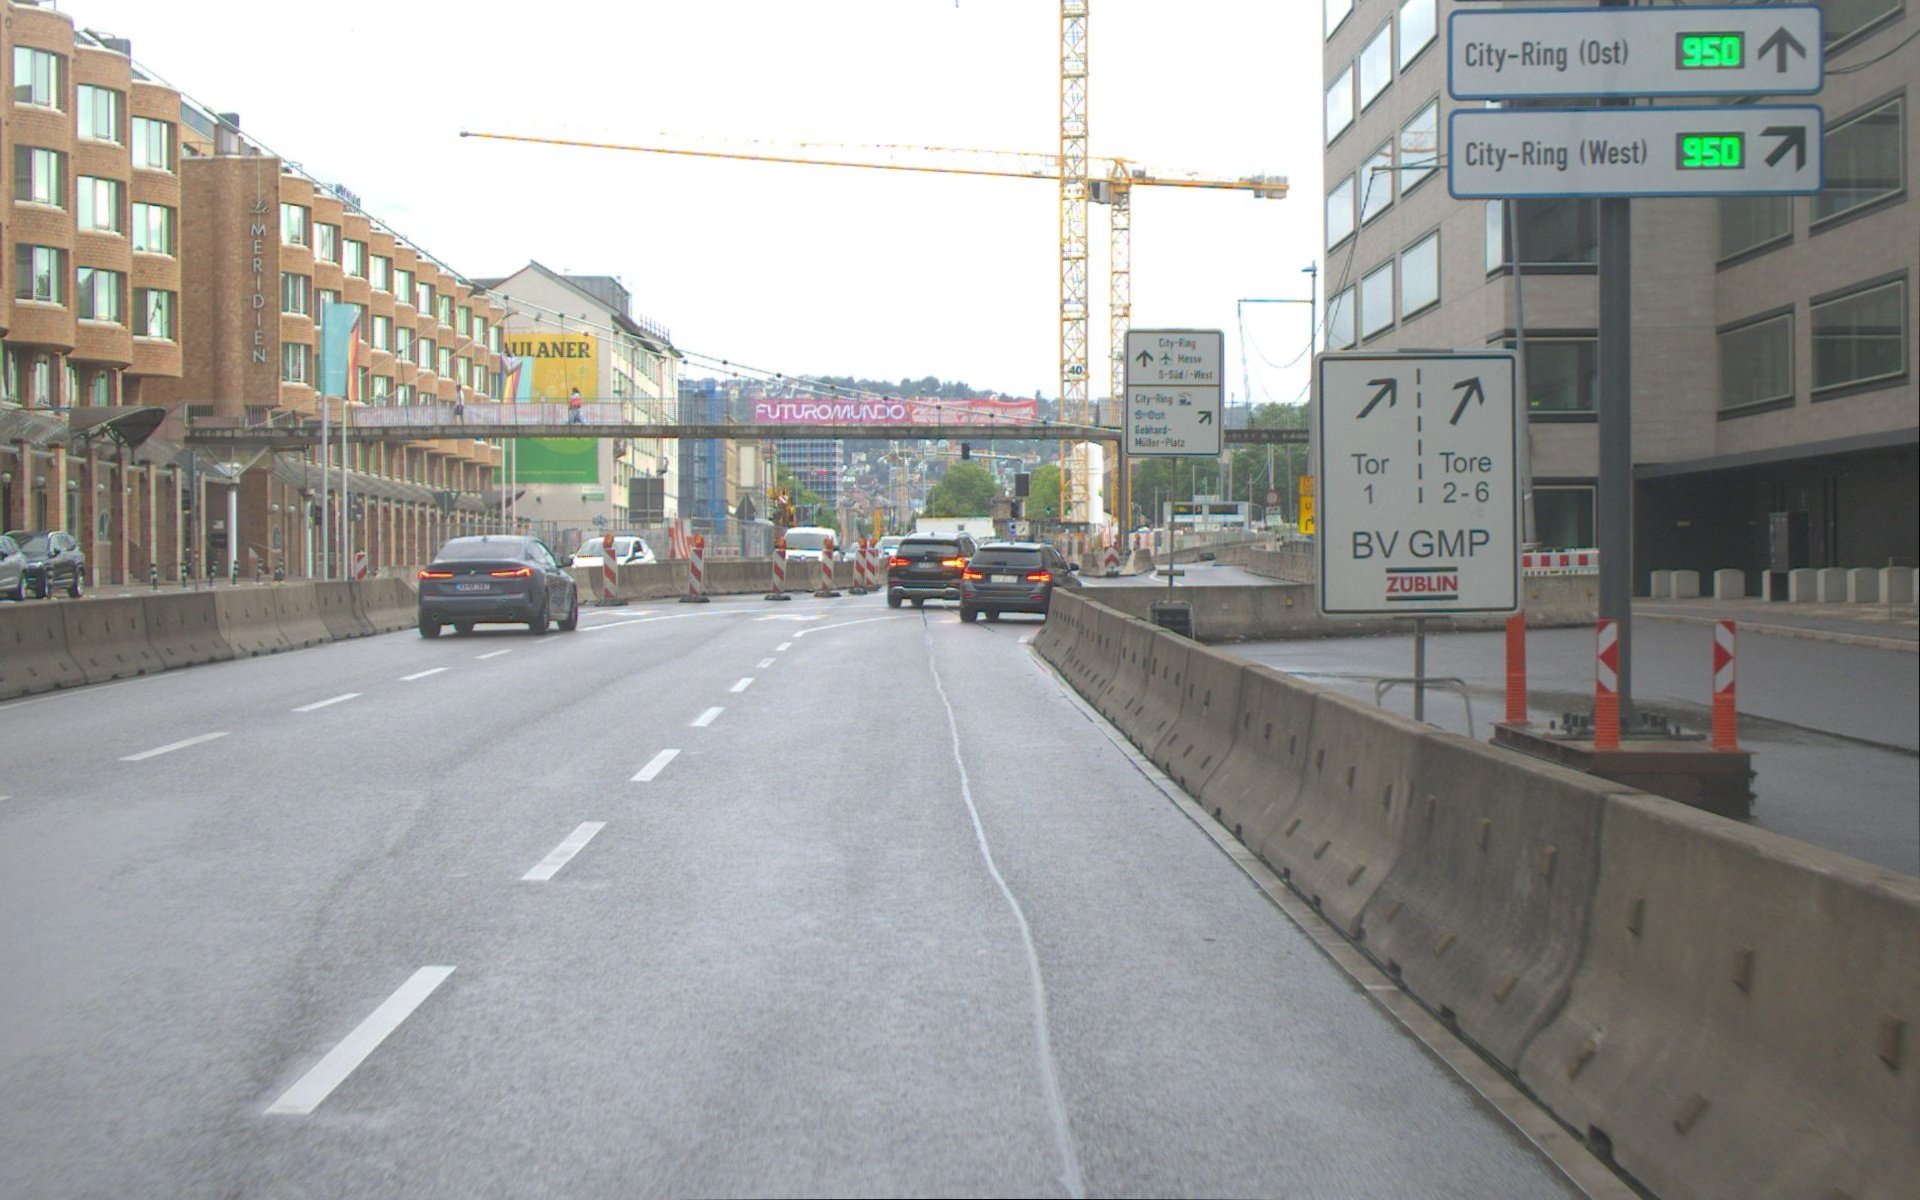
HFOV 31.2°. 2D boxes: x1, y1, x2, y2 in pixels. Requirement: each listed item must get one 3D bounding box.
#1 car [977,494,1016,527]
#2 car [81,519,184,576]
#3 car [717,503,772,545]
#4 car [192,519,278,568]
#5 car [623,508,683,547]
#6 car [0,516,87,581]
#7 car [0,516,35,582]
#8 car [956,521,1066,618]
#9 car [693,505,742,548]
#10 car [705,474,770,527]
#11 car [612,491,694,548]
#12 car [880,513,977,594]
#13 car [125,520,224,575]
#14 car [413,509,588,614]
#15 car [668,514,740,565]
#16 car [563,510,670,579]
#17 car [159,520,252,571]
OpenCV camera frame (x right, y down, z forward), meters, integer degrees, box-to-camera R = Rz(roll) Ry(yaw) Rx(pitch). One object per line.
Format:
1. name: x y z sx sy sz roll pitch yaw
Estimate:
1. car: 1.941 -4.733 182.537 1.900 1.687 4.000 -1 1 2
2. car: -24.243 -1.537 100.875 1.993 1.614 4.318 -1 1 0
3. car: -8.510 -3.009 135.992 1.993 1.614 4.763 -1 1 -2
4. car: -24.904 -1.943 118.244 1.993 1.614 4.690 -1 1 0
5. car: -13.312 -3.147 149.237 1.993 1.614 4.763 -1 1 2
6. car: -24.137 -1.324 88.919 1.993 1.614 4.318 -1 1 0
7. car: -24.196 -1.236 84.048 1.993 1.614 4.318 -1 1 0
8. car: 0.927 -0.570 62.320 1.900 1.687 4.000 -1 1 1
9. car: -11.711 -3.533 166.102 1.993 2.007 4.000 -1 1 1
10. car: -7.910 -3.540 122.744 1.993 1.820 4.763 -1 1 0
11. car: -8.984 -2.348 100.983 1.993 1.614 4.763 -1 1 0
12. car: -0.659 -1.026 75.201 1.900 1.687 4.000 -1 1 2
13. car: -24.227 -1.632 106.146 1.993 1.614 4.690 -1 1 0
14. car: -6.609 -0.572 49.852 1.791 1.421 4.384 -1 1 2
15. car: -8.273 -1.962 111.488 1.993 1.614 4.763 -1 1 0
16. car: -8.458 -1.377 85.043 1.993 1.614 4.763 -1 1 2
17. car: -24.584 -1.777 112.134 1.993 1.614 4.690 -1 1 0
